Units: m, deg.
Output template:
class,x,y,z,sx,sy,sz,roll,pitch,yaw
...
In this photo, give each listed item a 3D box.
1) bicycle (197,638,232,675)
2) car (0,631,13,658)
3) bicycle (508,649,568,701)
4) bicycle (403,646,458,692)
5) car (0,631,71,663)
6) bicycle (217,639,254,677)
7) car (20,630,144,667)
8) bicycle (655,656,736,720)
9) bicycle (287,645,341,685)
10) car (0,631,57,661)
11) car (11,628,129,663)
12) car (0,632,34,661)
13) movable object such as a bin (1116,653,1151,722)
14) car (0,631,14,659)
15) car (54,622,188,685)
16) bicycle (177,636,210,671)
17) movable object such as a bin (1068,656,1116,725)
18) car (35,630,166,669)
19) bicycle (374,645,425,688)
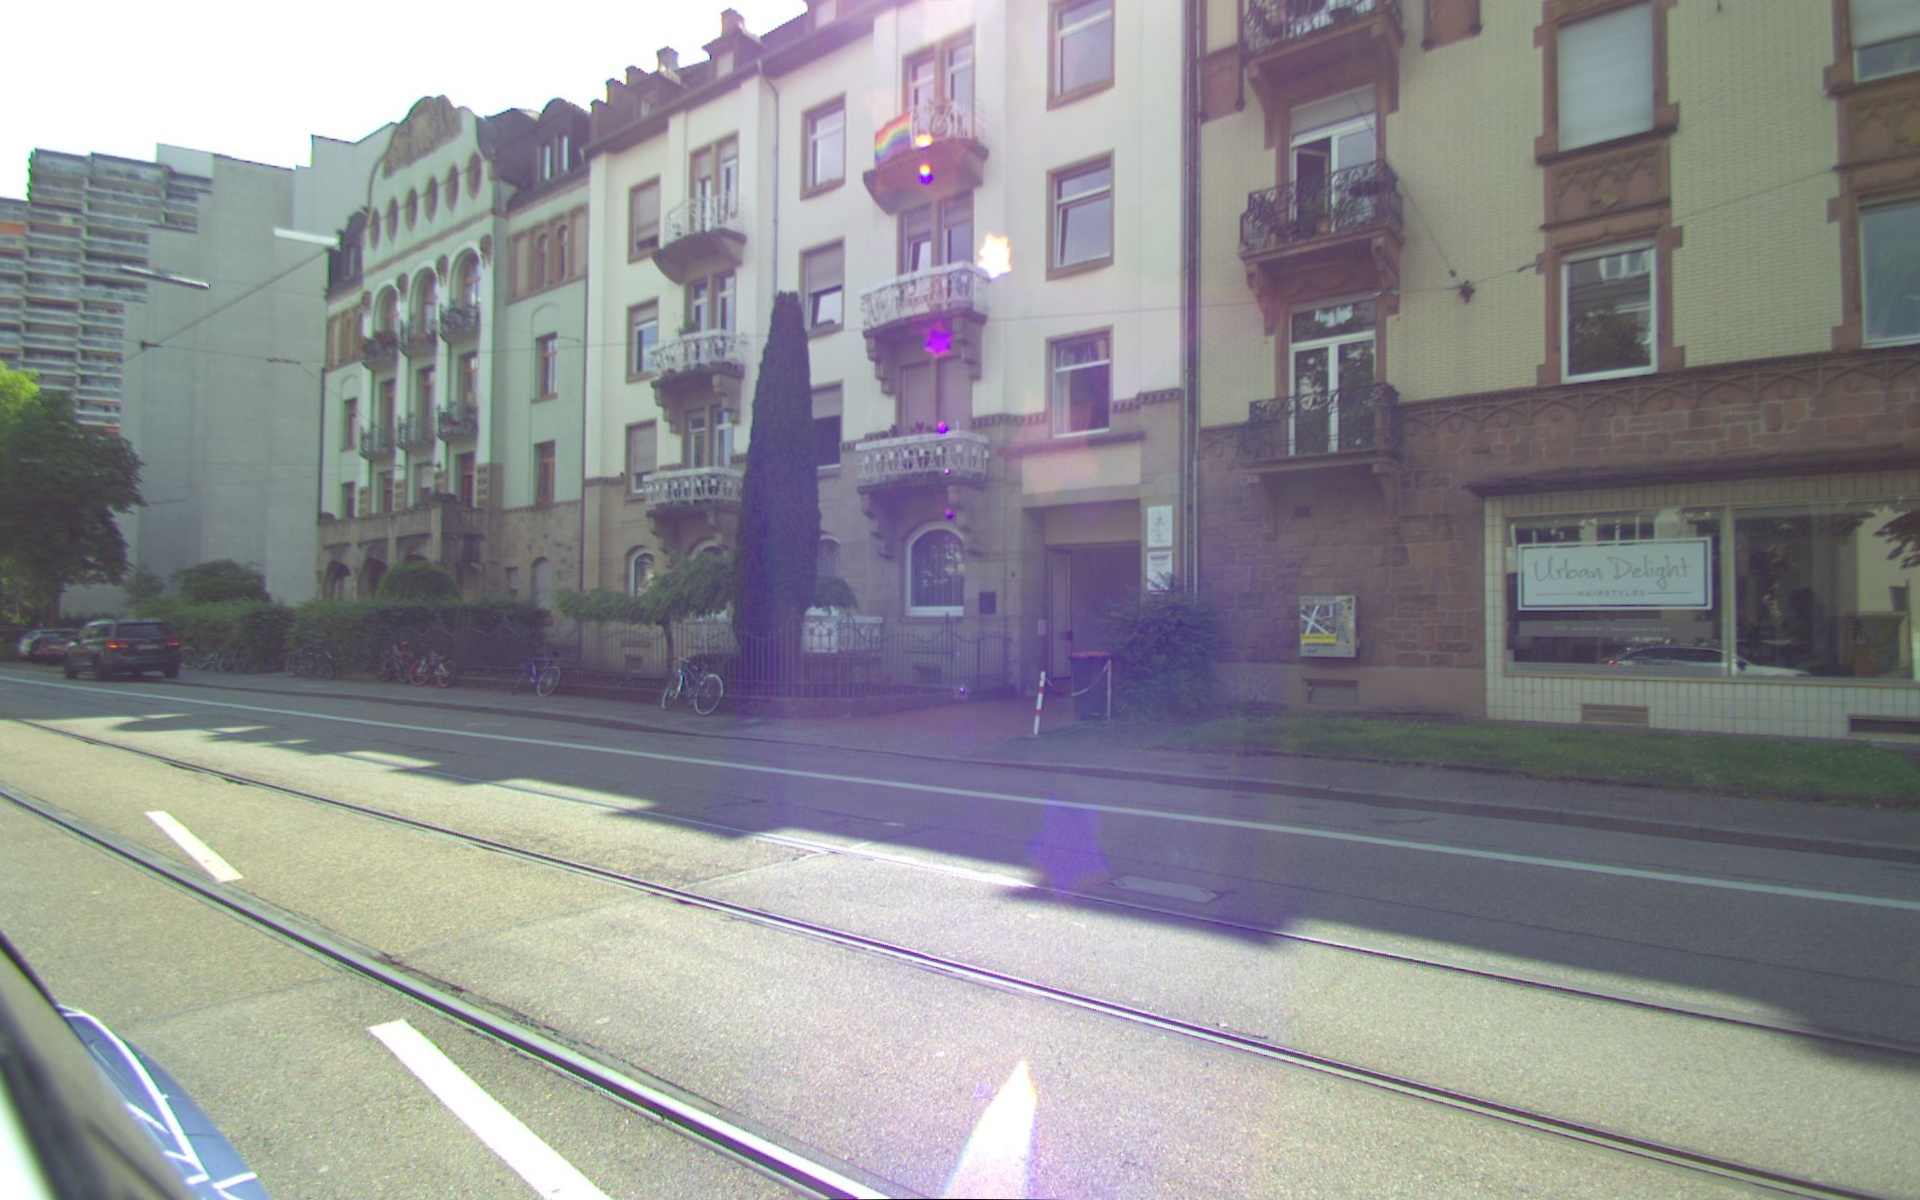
class,x,y,z,sx,sy,sz,roll,pitch,yaw
bicycle,-24.142,1.812,32.782,1.785,1.144,0.462,-1,-3,39
car,-55.776,2.485,56.661,3.939,1.519,2.002,2,-3,-43
bicycle,-8.705,1.520,20.842,1.788,1.003,0.461,-2,-3,45
bicycle,-12.308,1.584,23.517,1.785,1.003,0.462,-1,-3,39
car,-45.711,2.243,49.010,3.939,1.519,2.002,2,-3,-43
bicycle,-22.610,1.798,31.590,1.785,1.144,0.462,-1,-3,39
car,-37.759,2.075,43.581,3.939,1.519,2.002,2,-3,-43
bicycle,-4.613,1.499,17.565,0.461,1.003,1.980,2,-3,-43
bicycle,-17.218,1.708,26.961,1.979,1.003,0.597,-1,-3,39
car,-48.178,2.313,50.973,3.939,1.519,2.002,2,-3,-43
car,-40.380,2.064,45.979,3.939,1.519,2.002,2,-3,-43
car,-50.870,2.394,52.606,3.939,1.519,2.002,2,-3,-43
movable object such as a bin,2.704,1.357,15.820,0.531,1.037,0.475,0,-2,10
car,-53.573,2.416,54.371,3.939,1.519,2.002,2,-3,-43
car,-24.331,1.505,29.303,4.392,1.708,1.899,-1,-2,35
bicycle,-25.805,1.803,34.062,1.785,1.144,0.462,-1,-3,39
movable object such as a bin,2.071,1.409,15.842,0.698,1.037,0.475,0,-2,13
car,-35.063,2.000,41.344,3.939,1.519,2.002,2,-3,-43
bicycle,-13.731,1.616,24.772,1.785,1.003,0.462,-1,-3,39
